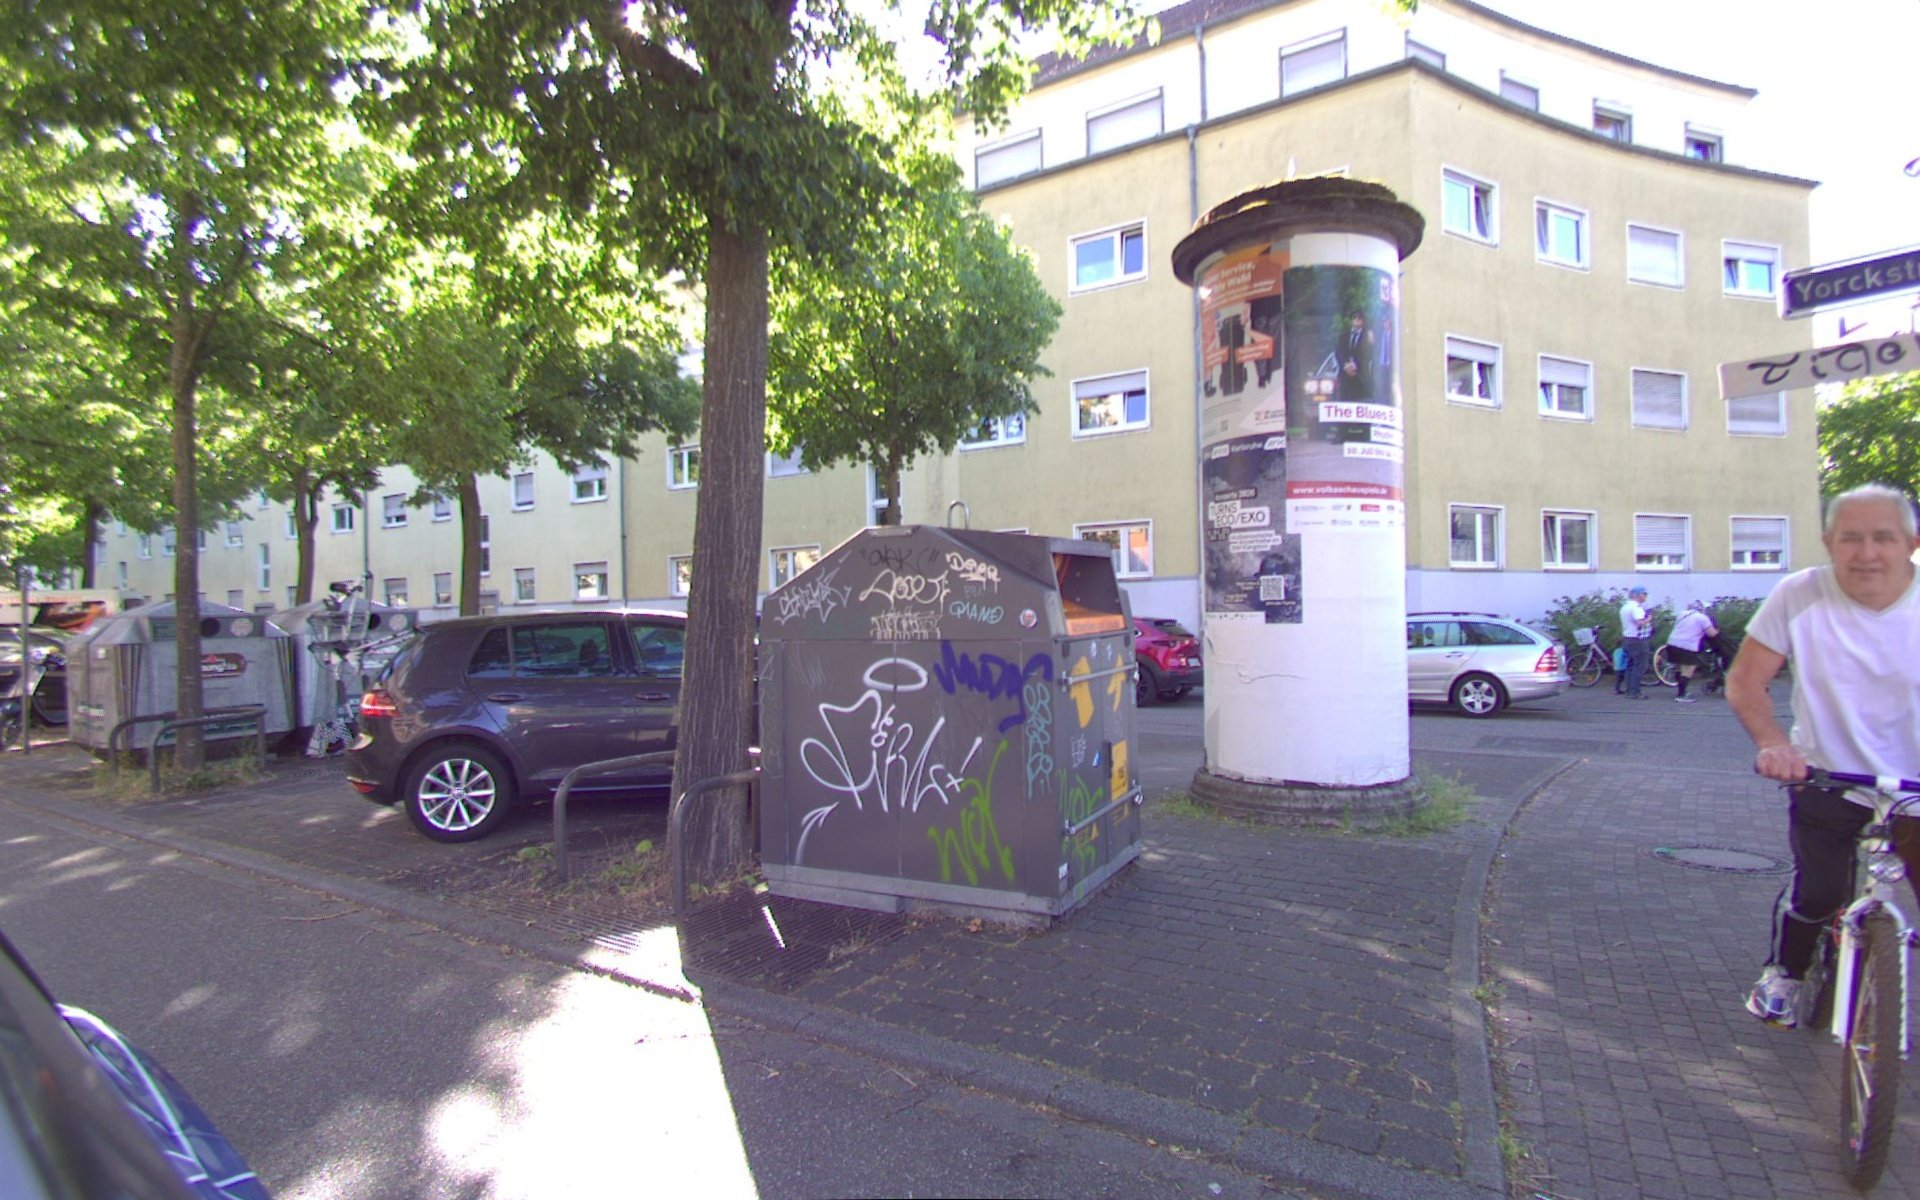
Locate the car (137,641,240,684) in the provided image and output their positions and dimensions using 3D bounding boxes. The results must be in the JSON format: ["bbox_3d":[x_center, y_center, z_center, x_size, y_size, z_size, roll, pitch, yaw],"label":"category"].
[{"bbox_3d":[-30.483,2.452,39.949,4.146,1.577,1.878,-2,-3,32],"label":"car"}]

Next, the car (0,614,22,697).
[{"bbox_3d":[-23.661,1.315,22.416,3.784,1.903,1.850,-2,-1,-21],"label":"car"}]

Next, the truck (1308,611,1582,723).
[{"bbox_3d":[6.971,0.925,14.648,3.402,1.447,1.519,-2,-2,32],"label":"truck"}]

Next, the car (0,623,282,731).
[{"bbox_3d":[-14.369,1.276,17.657,4.032,1.477,1.872,-4,0,-30],"label":"car"}]

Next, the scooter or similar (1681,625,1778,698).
[{"bbox_3d":[11.575,0.905,15.244,0.699,1.044,0.897,-1,-2,-19],"label":"scooter or similar"}]

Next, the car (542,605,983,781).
[{"bbox_3d":[-1.948,0.809,10.015,3.931,1.413,1.792,-1,-1,-19],"label":"car"}]

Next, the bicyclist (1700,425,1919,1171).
[{"bbox_3d":[2.654,0.474,2.769,0.794,1.798,0.881,-2,-2,25],"label":"bicyclist"}]

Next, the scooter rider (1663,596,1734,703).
[{"bbox_3d":[10.912,0.718,14.961,0.516,1.541,0.609,-1,-2,-19],"label":"scooter rider"}]

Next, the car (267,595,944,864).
[{"bbox_3d":[-2.332,0.755,7.337,4.071,1.493,1.781,-1,0,-16],"label":"car"}]

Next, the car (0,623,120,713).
[{"bbox_3d":[-18.389,1.289,19.039,3.673,1.594,1.642,-1,0,-25],"label":"car"}]

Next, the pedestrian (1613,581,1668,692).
[{"bbox_3d":[10.353,0.548,15.403,0.525,1.654,0.419,-1,-2,-24],"label":"pedestrian"}]

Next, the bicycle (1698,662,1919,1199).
[{"bbox_3d":[2.694,0.796,2.827,0.662,1.153,1.947,-2,-1,27],"label":"bicycle"}]

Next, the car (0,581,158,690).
[{"bbox_3d":[-24.537,0.953,25.755,5.979,2.643,2.463,0,-5,-23],"label":"car"}]

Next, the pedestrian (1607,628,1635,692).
[{"bbox_3d":[10.369,0.937,15.884,0.188,0.976,0.271,-1,-2,-24],"label":"pedestrian"}]

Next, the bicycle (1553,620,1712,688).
[{"bbox_3d":[11.135,0.899,16.820,2.120,1.081,0.488,-2,-2,13],"label":"bicycle"}]

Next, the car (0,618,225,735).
[{"bbox_3d":[-13.530,1.097,14.829,4.084,1.566,1.838,-1,-1,-15],"label":"car"}]

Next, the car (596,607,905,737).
[{"bbox_3d":[-2.721,0.870,13.602,3.742,1.477,1.646,0,-2,-42],"label":"car"}]

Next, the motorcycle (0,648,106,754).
[{"bbox_3d":[-11.212,1.185,11.778,0.515,1.180,1.930,-2,-2,22],"label":"motorcycle"}]

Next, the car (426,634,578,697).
[{"bbox_3d":[-12.643,1.774,27.888,4.131,1.505,1.760,-2,1,31],"label":"car"}]

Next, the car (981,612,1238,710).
[{"bbox_3d":[2.542,1.024,17.615,4.153,1.538,1.517,-2,-2,32],"label":"car"}]

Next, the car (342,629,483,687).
[{"bbox_3d":[-16.518,1.742,30.474,4.578,1.528,1.758,-2,1,33],"label":"car"}]
